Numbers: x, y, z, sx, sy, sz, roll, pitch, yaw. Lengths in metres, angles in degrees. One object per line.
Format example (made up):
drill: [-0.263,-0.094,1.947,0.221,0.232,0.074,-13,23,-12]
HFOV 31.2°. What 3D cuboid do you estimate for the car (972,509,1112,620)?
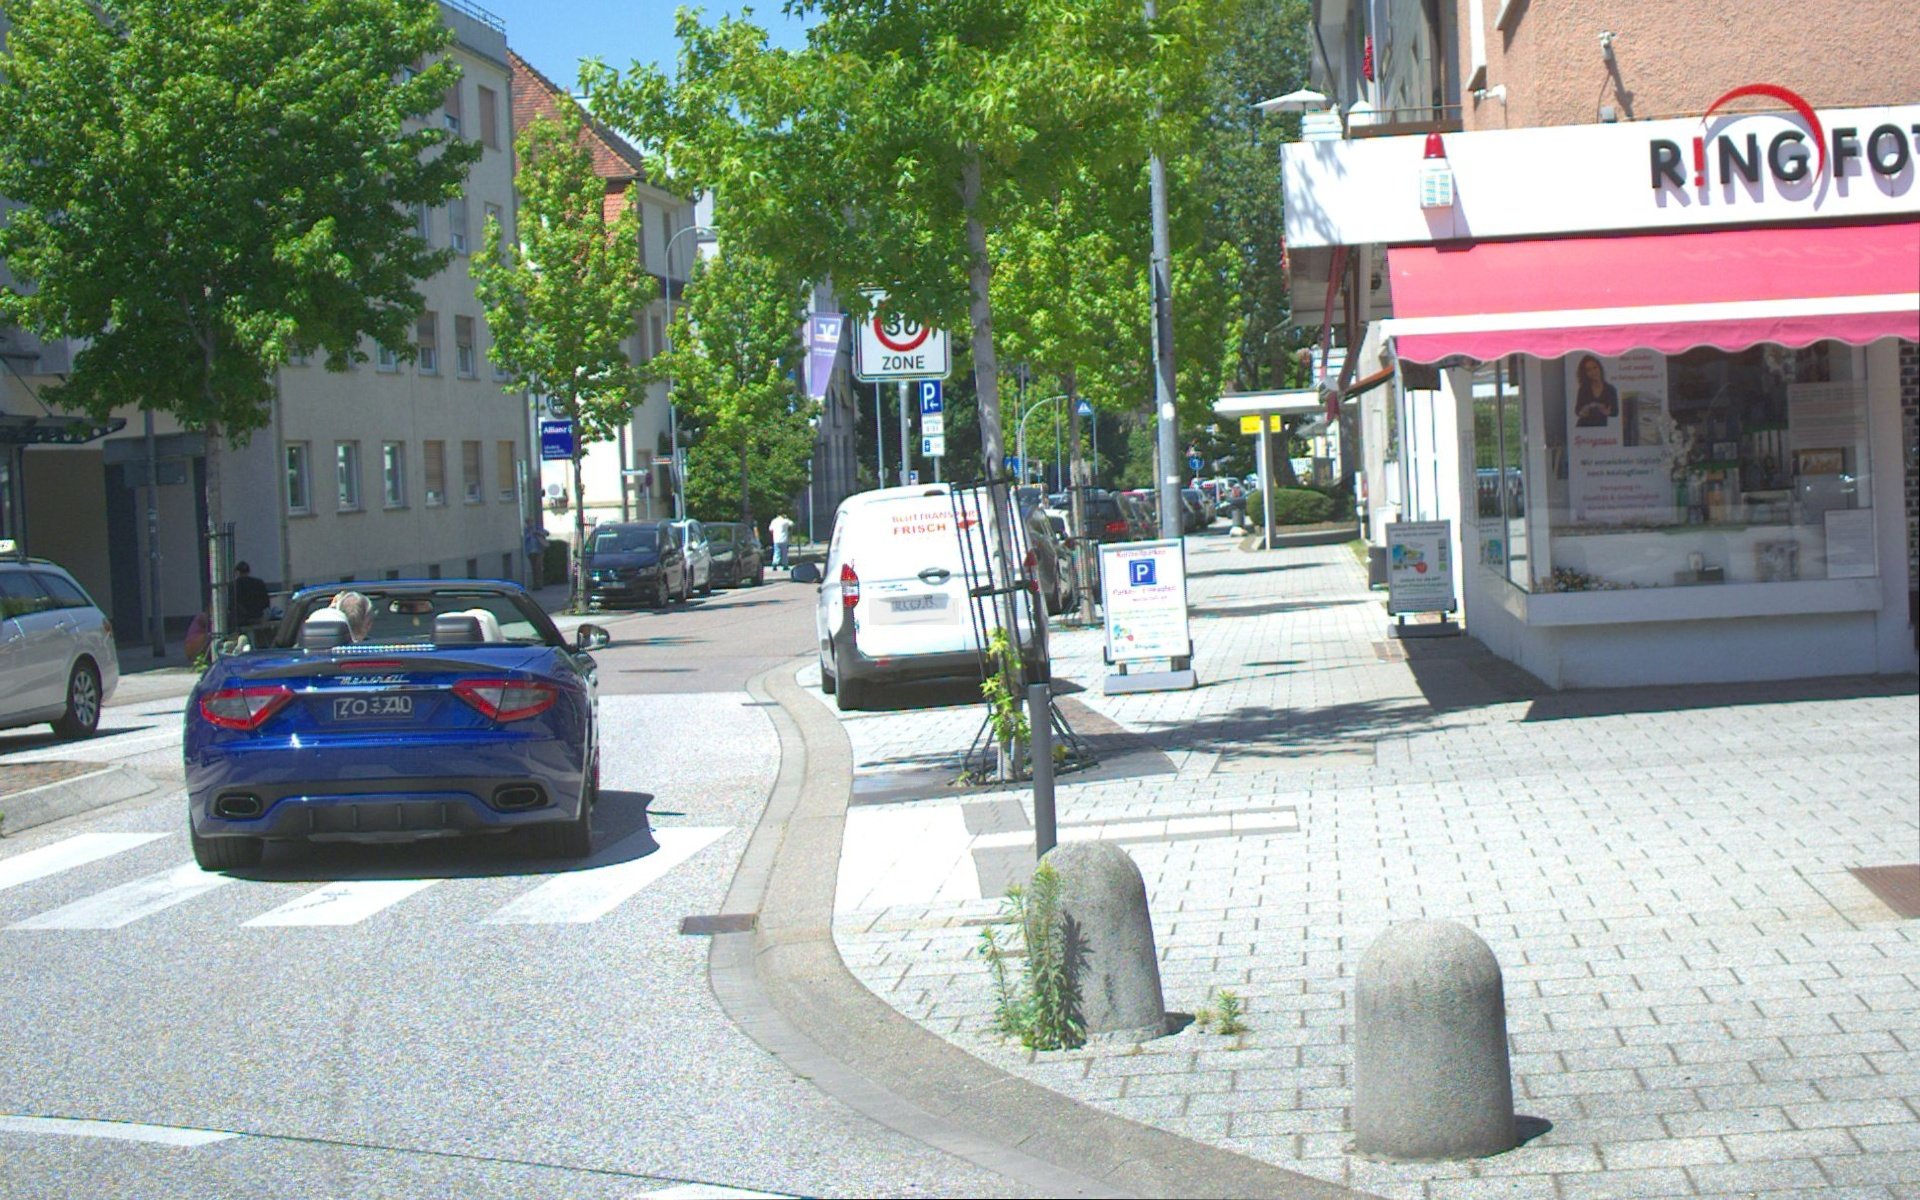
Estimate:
car: [1.354,-0.606,55.221,1.723,1.578,4.224,-4,1,7]

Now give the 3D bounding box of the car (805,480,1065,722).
car: [-0.273,-0.040,28.206,1.747,1.718,3.911,-5,2,-4]

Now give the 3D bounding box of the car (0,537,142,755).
car: [-8.146,0.386,26.430,1.994,1.587,4.998,-2,2,6]

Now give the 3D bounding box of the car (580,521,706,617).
car: [-6.164,-0.641,67.241,1.729,1.734,4.392,0,2,4]

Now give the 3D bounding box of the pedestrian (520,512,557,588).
pedestrian: [-9.687,-1.157,78.989,0.655,1.674,0.632,-5,4,-11]

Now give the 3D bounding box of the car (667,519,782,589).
car: [-5.375,-1.085,78.989,1.755,1.469,4.320,-1,2,8]

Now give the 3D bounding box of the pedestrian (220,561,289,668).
pedestrian: [-9.334,0.186,45.511,0.568,1.367,0.666,-3,1,15]

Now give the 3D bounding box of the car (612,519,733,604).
car: [-6.049,-0.842,72.827,1.824,1.614,4.392,-1,2,4]

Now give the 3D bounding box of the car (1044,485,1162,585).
car: [3.082,-1.409,73.145,1.994,1.792,4.568,-4,3,8]

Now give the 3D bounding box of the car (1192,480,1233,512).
car: [12.979,-5.345,176.372,1.951,1.471,4.137,-4,2,5]

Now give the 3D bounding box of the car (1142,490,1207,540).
car: [7.495,-2.971,119.739,1.976,1.445,4.349,-4,3,6]

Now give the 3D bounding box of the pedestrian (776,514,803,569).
pedestrian: [-4.653,-1.594,93.869,0.579,1.469,0.564,-3,2,5]

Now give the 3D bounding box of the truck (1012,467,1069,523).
truck: [3.335,-4.335,141.202,1.805,2.110,4.714,-4,2,6]

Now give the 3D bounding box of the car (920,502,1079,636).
car: [0.625,-0.493,49.886,1.764,1.700,4.705,-4,2,6]

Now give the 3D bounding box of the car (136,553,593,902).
car: [-2.950,0.534,17.675,1.976,1.393,4.628,-2,2,-7]

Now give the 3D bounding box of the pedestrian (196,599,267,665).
pedestrian: [-9.915,0.437,46.802,0.665,0.855,0.732,-3,-2,15]
